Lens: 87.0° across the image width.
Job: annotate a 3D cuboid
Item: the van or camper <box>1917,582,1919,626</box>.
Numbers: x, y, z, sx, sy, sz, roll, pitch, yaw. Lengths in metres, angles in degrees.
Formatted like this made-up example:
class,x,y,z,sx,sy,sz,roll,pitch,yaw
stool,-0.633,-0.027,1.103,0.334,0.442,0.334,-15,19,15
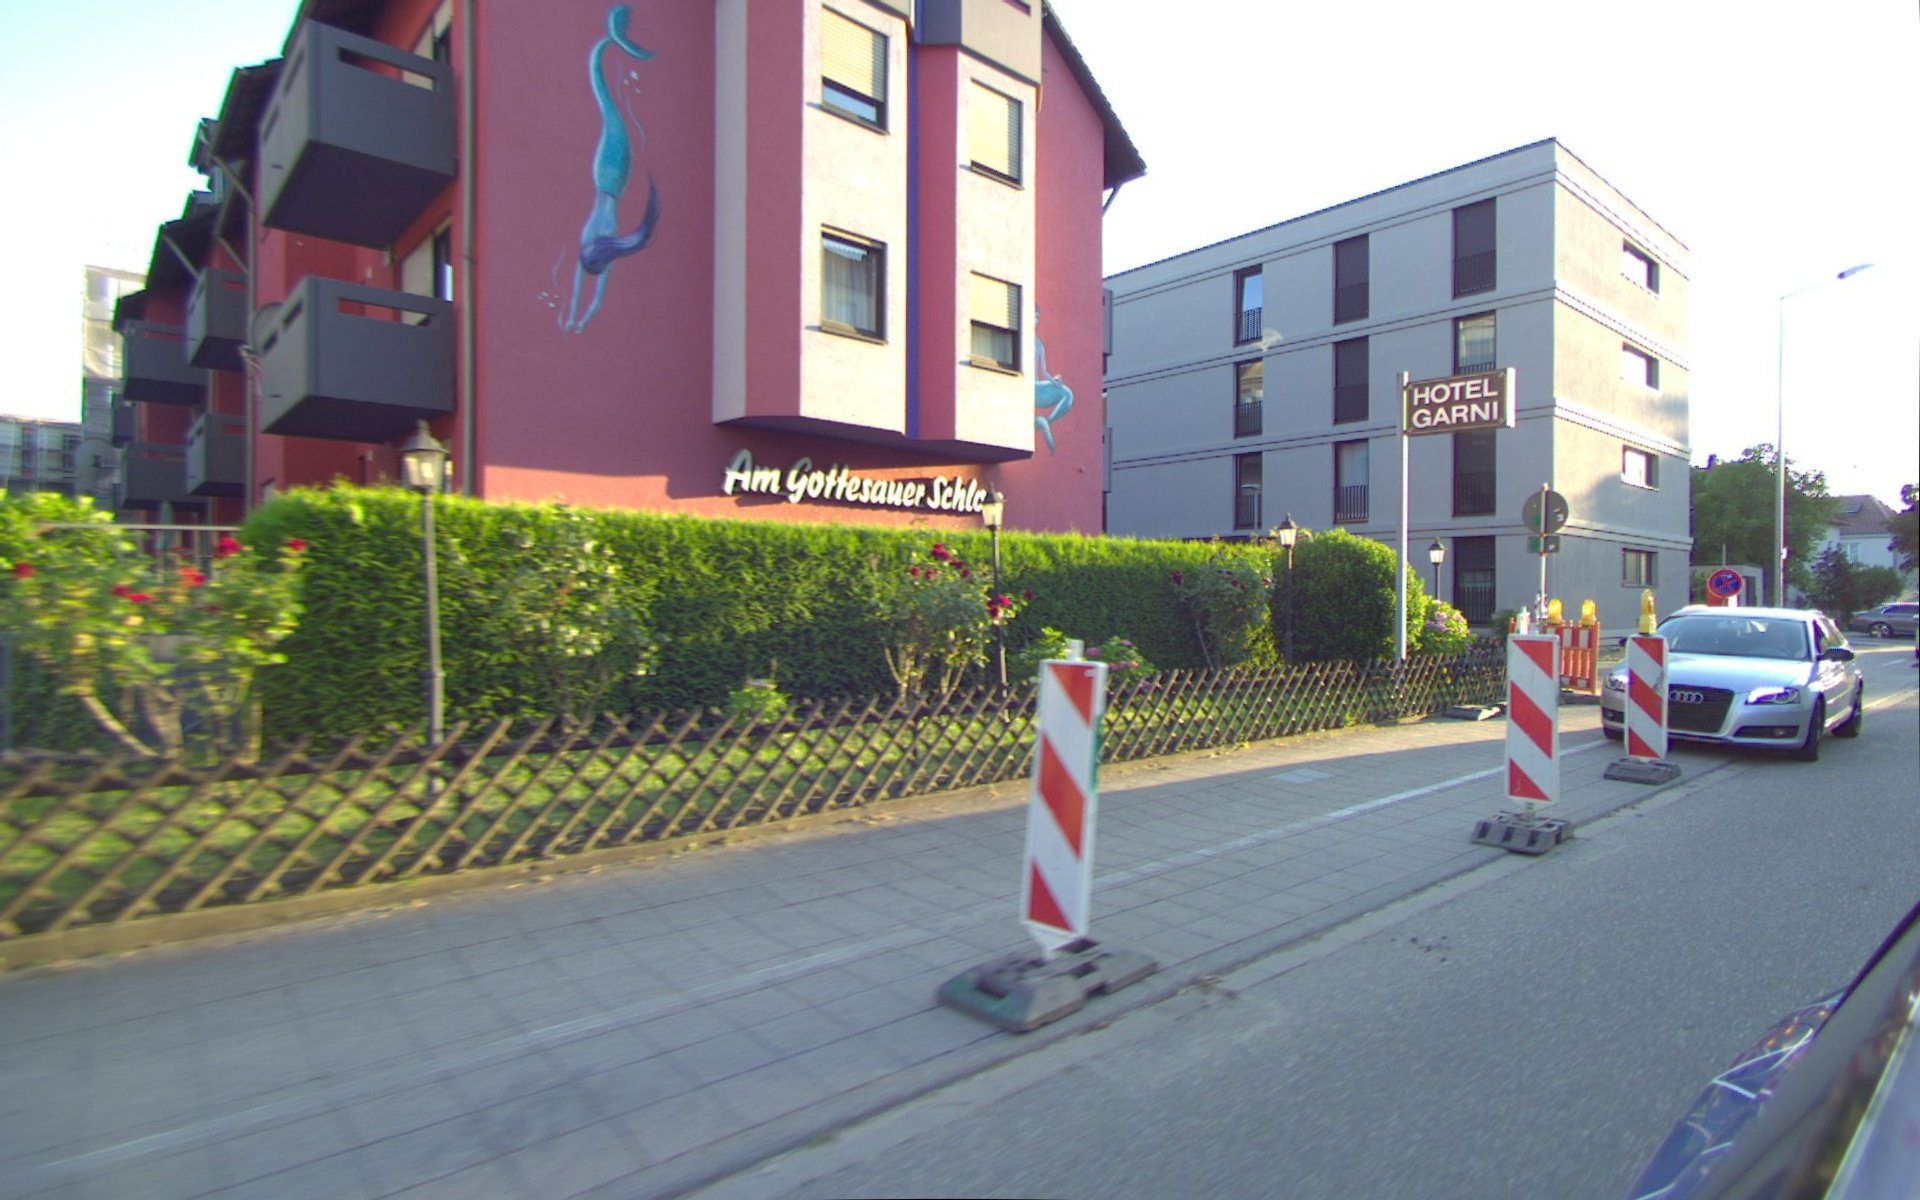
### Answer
class,x,y,z,sx,sy,sz,roll,pitch,yaw
van or camper,45.954,0.181,45.127,2.059,1.978,4.653,0,0,-42

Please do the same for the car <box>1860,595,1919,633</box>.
class,x,y,z,sx,sy,sz,roll,pitch,yaw
car,38.305,0.595,39.295,1.738,1.415,4.830,1,1,-39

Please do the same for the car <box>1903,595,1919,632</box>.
class,x,y,z,sx,sy,sz,roll,pitch,yaw
car,40.852,0.599,40.682,1.737,1.520,4.068,1,1,-36

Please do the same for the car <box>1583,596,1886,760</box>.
class,x,y,z,sx,sy,sz,roll,pitch,yaw
car,8.314,0.671,10.741,4.035,1.414,1.779,0,0,-41
